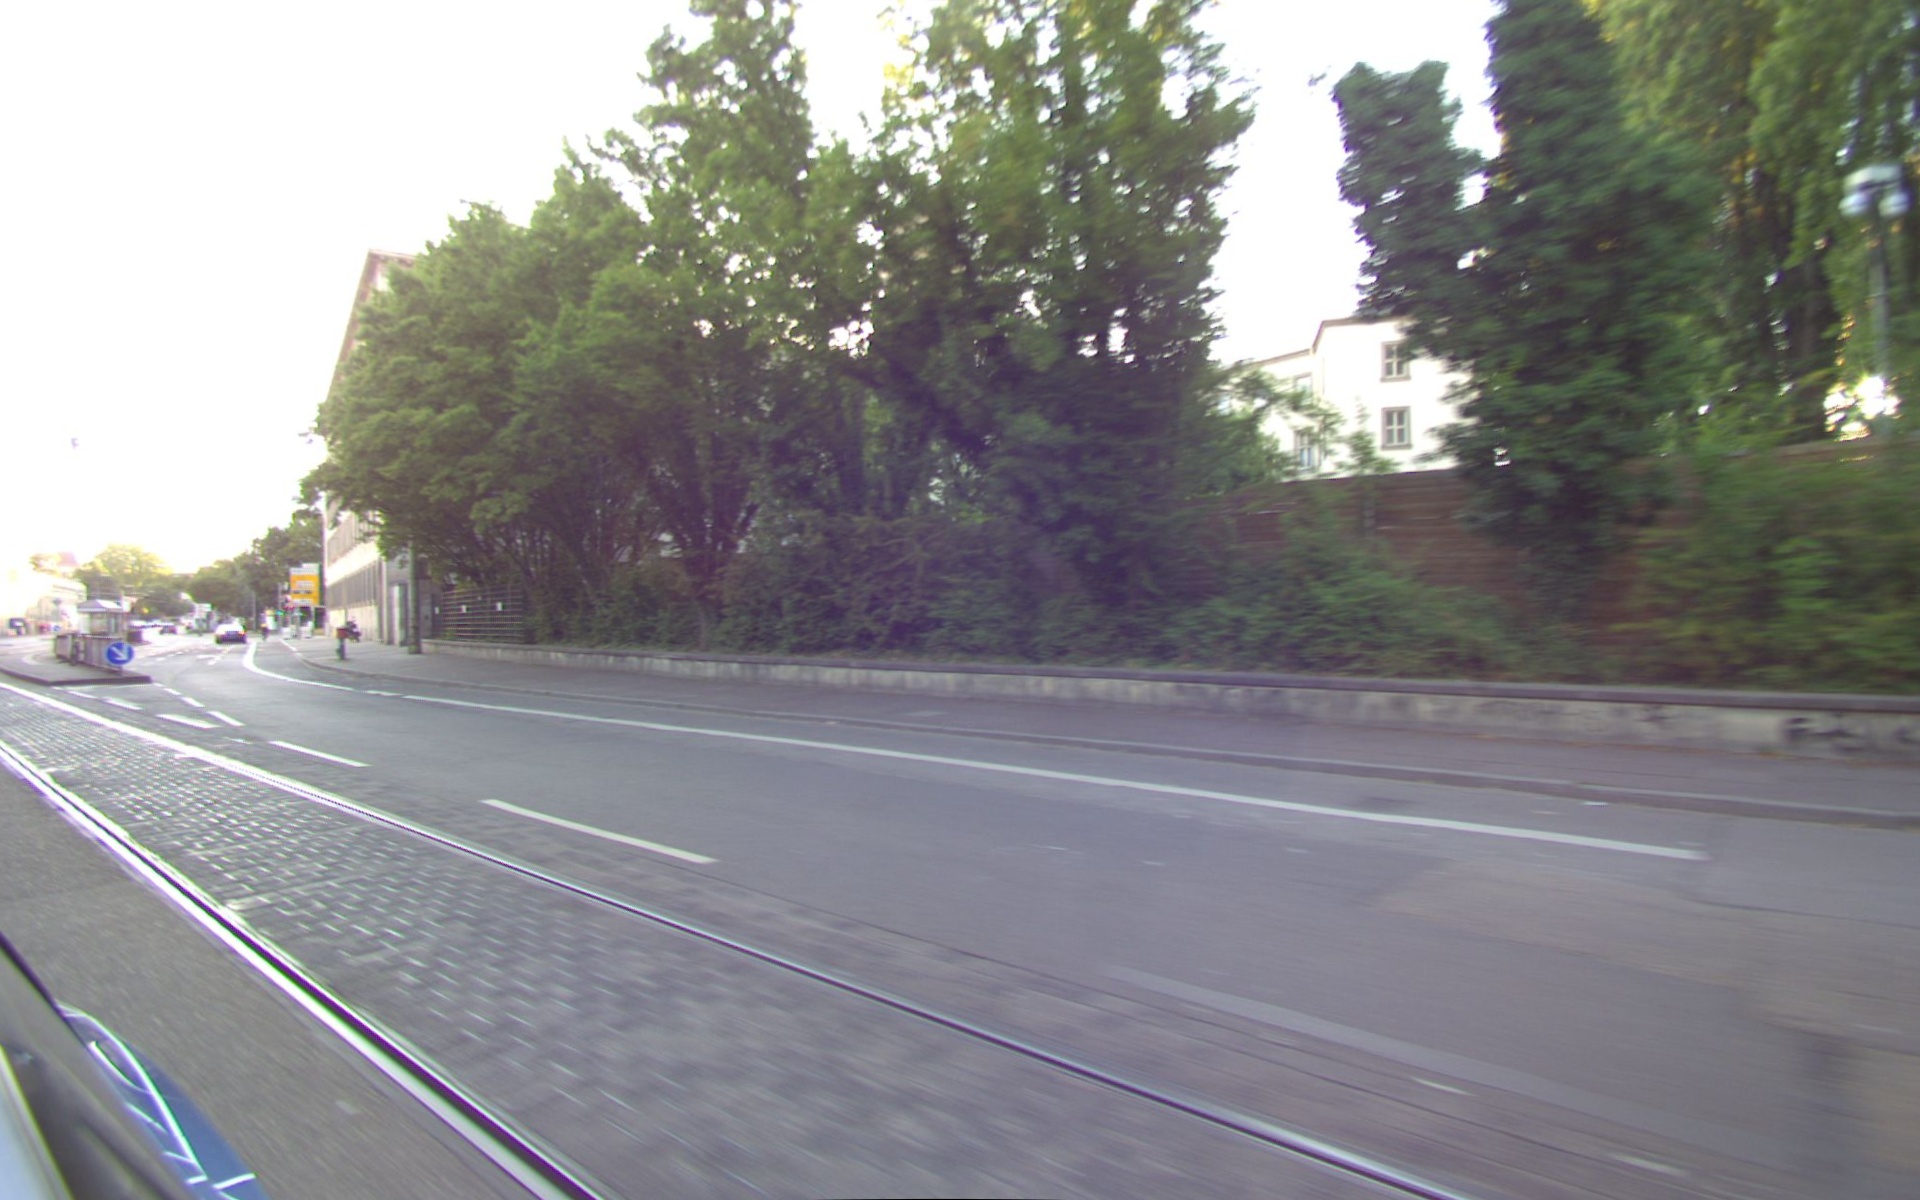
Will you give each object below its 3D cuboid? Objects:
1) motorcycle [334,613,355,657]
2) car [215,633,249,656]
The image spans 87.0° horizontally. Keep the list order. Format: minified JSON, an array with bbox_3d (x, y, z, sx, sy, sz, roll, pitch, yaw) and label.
[{"bbox_3d":[-35.890,2.041,58.991,1.006,2.461,2.675,-1,-1,-31],"label":"motorcycle"},{"bbox_3d":[-57.592,3.481,80.031,1.968,1.697,4.008,0,-1,-38],"label":"car"}]
